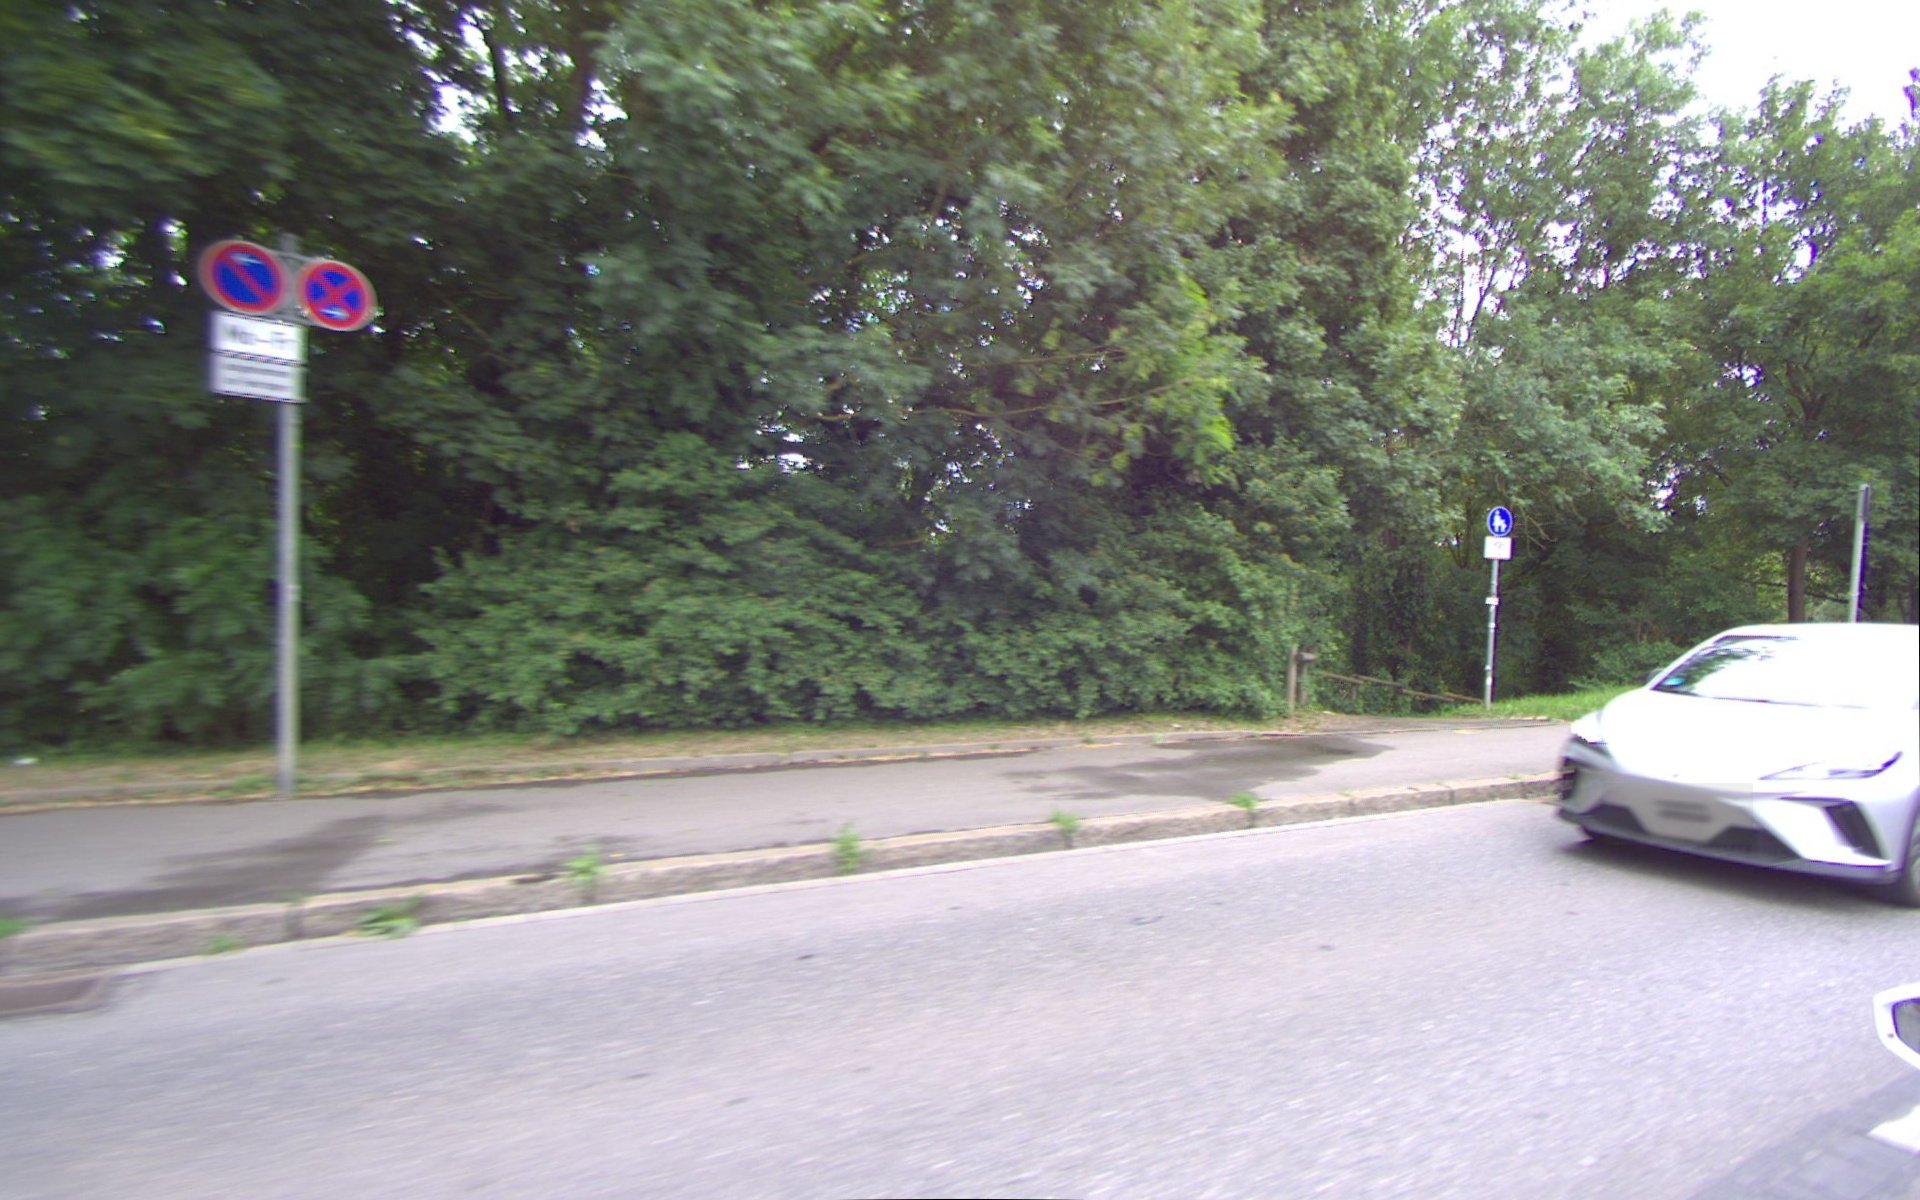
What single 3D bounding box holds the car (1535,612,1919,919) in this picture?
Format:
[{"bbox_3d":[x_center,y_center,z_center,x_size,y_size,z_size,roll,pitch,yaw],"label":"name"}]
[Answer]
[{"bbox_3d":[5.948,0.865,6.764,4.130,1.512,1.786,1,-1,-30],"label":"car"}]
